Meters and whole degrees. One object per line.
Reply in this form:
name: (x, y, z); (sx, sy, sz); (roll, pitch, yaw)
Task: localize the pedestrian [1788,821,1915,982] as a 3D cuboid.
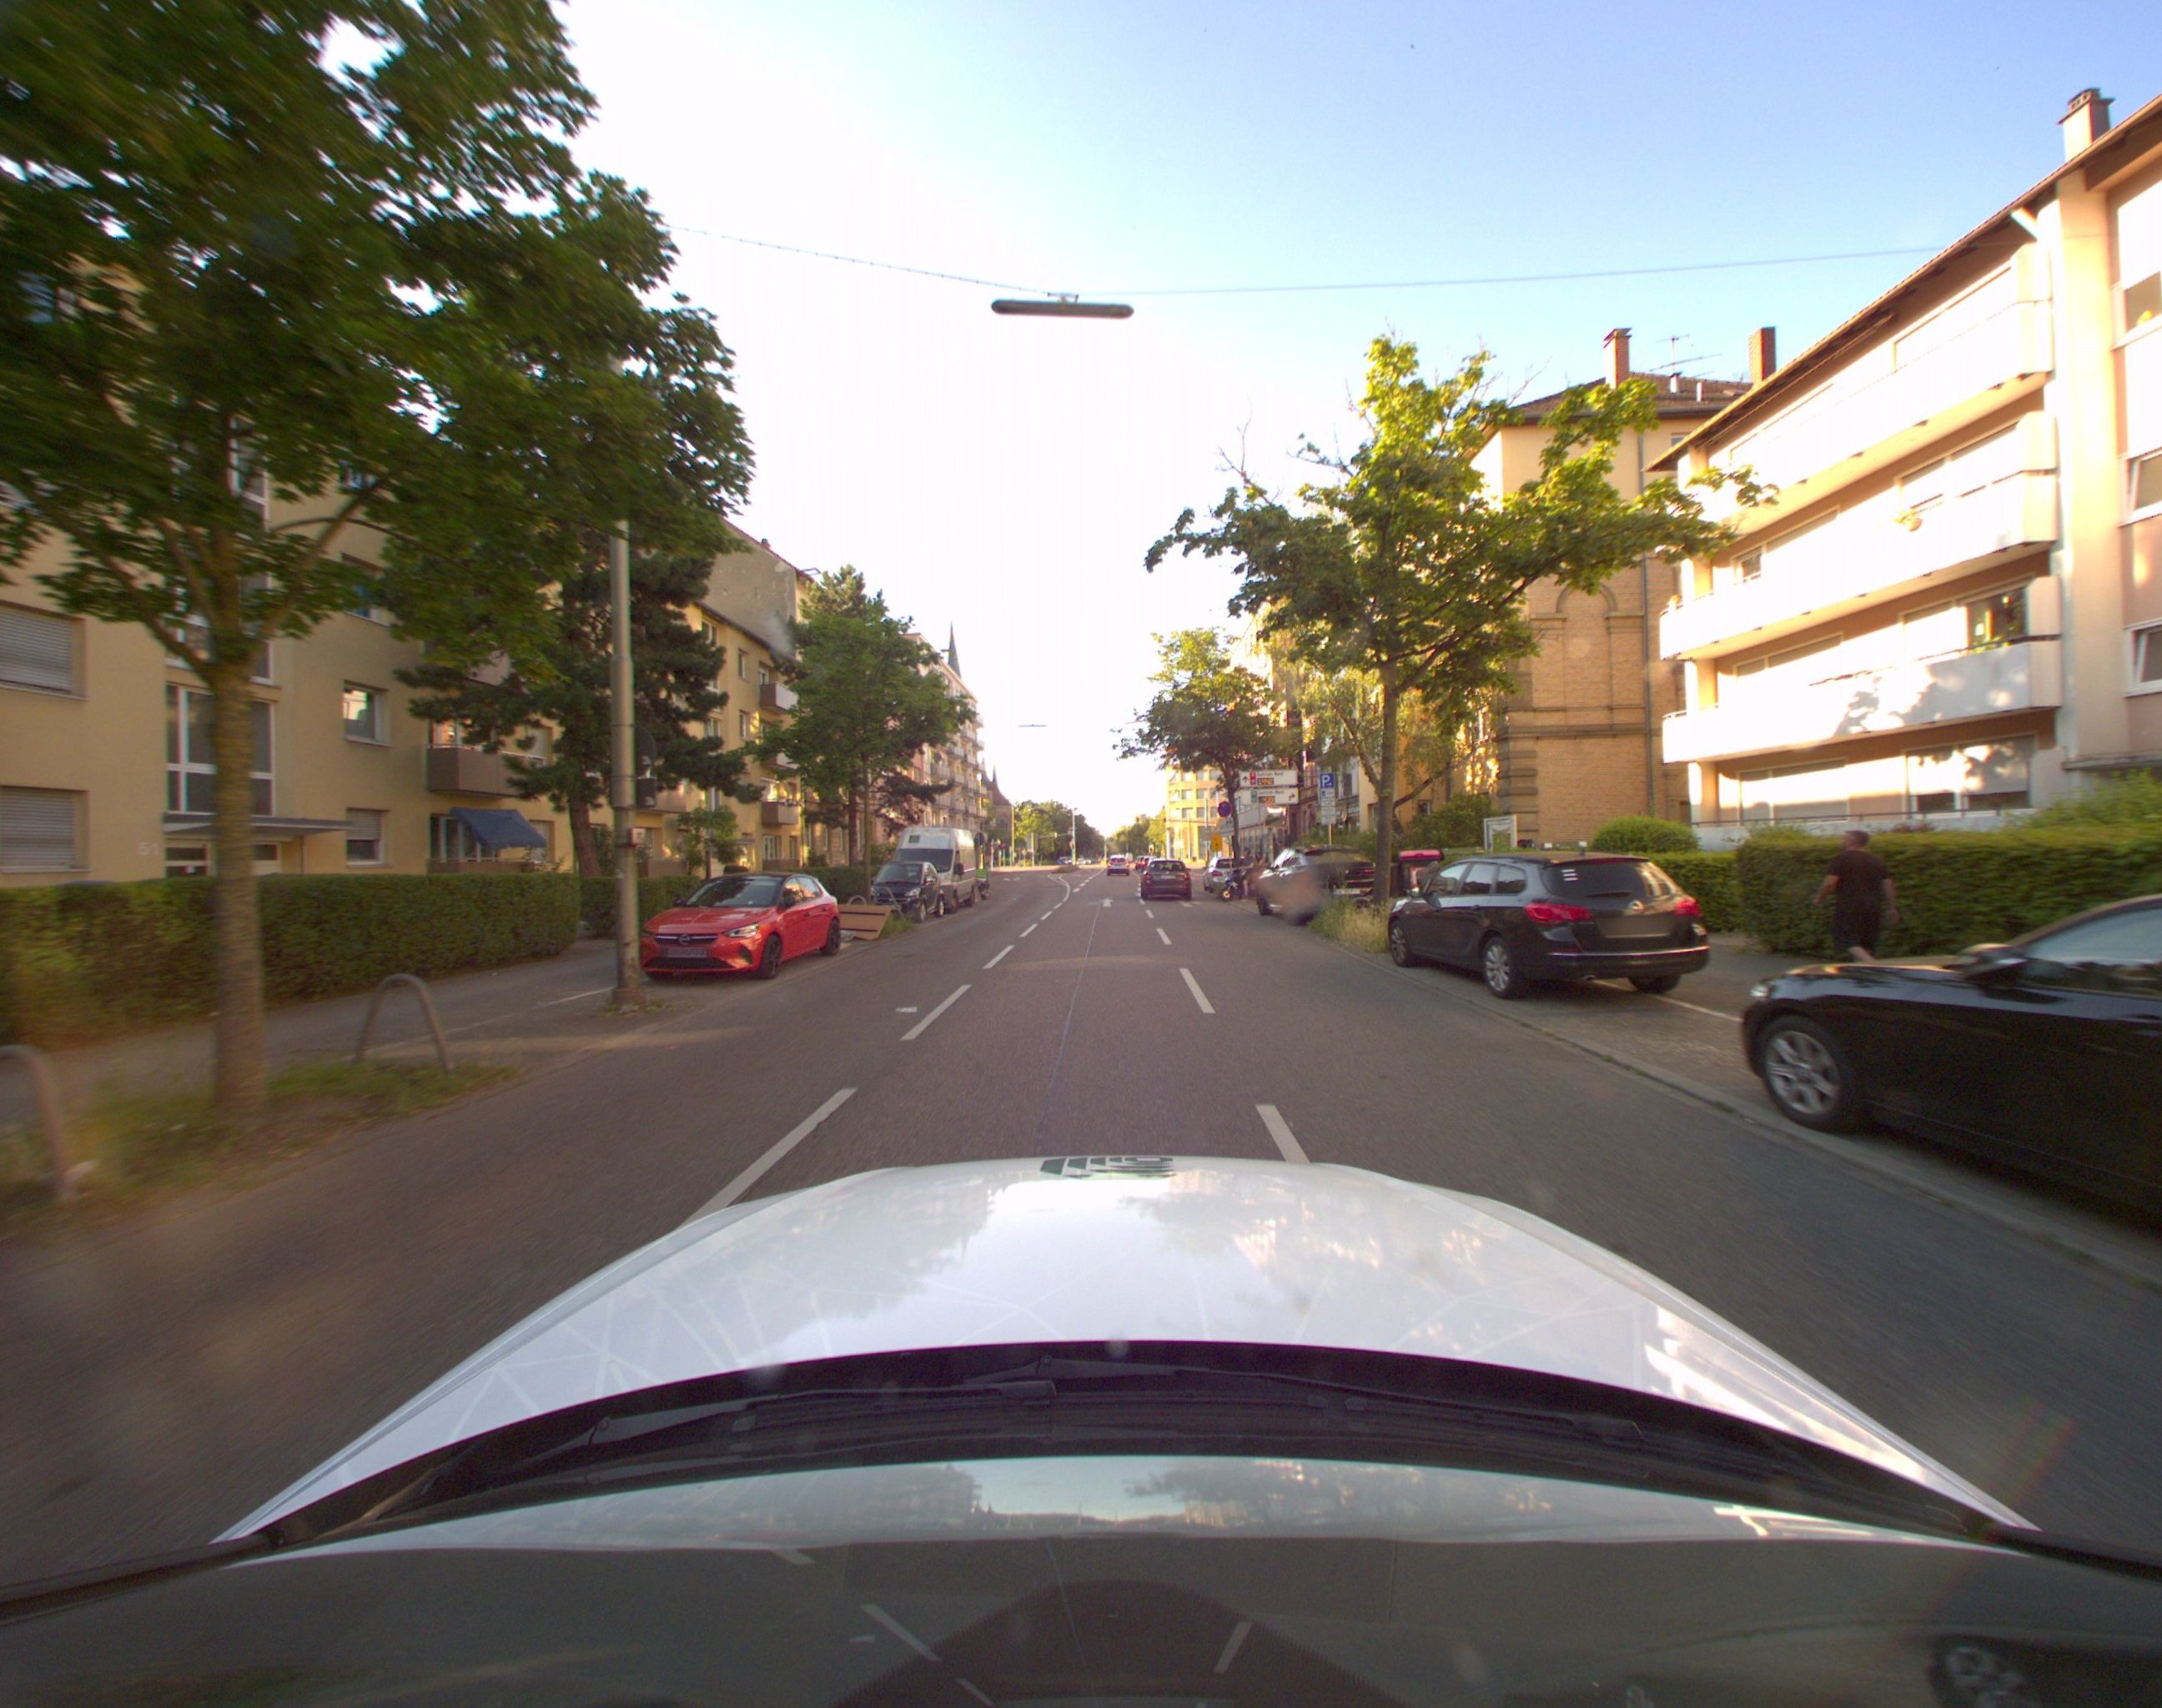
pedestrian: (8.094, 0.478, 8.579); (0.743, 1.616, 0.580); (-2, 0, 0)

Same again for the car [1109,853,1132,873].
car: (3.148, 0.724, 64.900); (1.701, 1.510, 4.311); (-1, 0, 2)

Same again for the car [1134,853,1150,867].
car: (6.696, 0.635, 89.387); (1.578, 1.446, 3.650); (0, 0, 2)

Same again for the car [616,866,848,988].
car: (-5.035, 0.968, 12.400); (1.710, 1.451, 3.925); (-1, 0, 2)

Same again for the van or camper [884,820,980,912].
van or camper: (-4.708, 0.366, 26.668); (2.029, 2.664, 6.014); (0, 0, 0)

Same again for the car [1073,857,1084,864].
car: (-0.511, 1.170, 156.133); (1.773, 1.236, 4.003); (-1, 0, 3)

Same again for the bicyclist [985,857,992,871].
bicyclist: (-11.152, 1.246, 98.152); (0.779, 1.660, 0.901); (0, -1, 2)

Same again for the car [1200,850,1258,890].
car: (6.237, 0.647, 34.890); (1.848, 1.512, 4.839); (-3, 0, 4)

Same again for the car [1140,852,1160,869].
car: (6.347, 0.571, 75.360); (1.644, 1.484, 4.242); (-1, 0, 2)

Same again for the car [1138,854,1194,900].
car: (2.972, 0.768, 29.146); (1.701, 1.457, 4.161); (-1, 0, 2)

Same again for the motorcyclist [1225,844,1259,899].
motorcyclist: (5.327, 0.581, 27.001); (0.736, 1.778, 1.085); (-1, -1, -9)

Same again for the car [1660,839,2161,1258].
car: (4.748, 0.688, 3.248); (1.763, 1.448, 4.486); (-2, 0, 2)

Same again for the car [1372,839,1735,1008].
car: (5.117, 0.632, 9.661); (1.711, 1.472, 4.431); (-2, 0, 0)

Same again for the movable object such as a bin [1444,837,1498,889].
movable object such as a bin: (12.251, 0.284, 25.619); (1.154, 1.555, 0.992); (-2, 0, -8)

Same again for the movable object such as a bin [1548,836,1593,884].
movable object such as a bin: (15.140, 0.191, 25.229); (1.128, 1.441, 1.001); (-2, 0, 30)

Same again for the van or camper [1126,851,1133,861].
van or camper: (14.014, 0.553, 235.112); (1.985, 2.640, 5.356); (-2, 0, 4)

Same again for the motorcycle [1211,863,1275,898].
motorcycle: (5.416, 0.876, 27.236); (1.925, 1.071, 0.817); (-1, 0, -10)

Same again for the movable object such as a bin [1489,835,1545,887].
movable object such as a bin: (13.581, 0.226, 25.409); (1.154, 1.555, 0.992); (-2, 0, -8)

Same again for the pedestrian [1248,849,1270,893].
pedestrian: (5.915, 0.558, 27.064); (0.438, 1.430, 0.702); (-1, 0, -9)

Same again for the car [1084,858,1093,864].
car: (1.658, 1.638, 183.319); (1.773, 1.236, 4.003); (-1, 0, 3)

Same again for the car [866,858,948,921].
car: (-4.553, 0.881, 21.593); (1.397, 1.548, 2.764); (0, 0, 4)

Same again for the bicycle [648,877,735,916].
bicycle: (-9.838, 1.074, 20.591); (1.927, 0.925, 0.583); (1, 0, 3)

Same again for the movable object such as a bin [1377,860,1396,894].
movable object such as a bin: (9.600, 0.716, 25.610); (0.490, 1.059, 0.550); (-2, 0, 14)

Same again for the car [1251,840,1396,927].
car: (5.309, 0.586, 18.556); (1.941, 1.655, 4.797); (-2, 0, 1)

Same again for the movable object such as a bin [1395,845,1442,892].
movable object such as a bin: (10.622, 0.448, 25.679); (1.243, 1.441, 0.999); (-2, 0, 16)
